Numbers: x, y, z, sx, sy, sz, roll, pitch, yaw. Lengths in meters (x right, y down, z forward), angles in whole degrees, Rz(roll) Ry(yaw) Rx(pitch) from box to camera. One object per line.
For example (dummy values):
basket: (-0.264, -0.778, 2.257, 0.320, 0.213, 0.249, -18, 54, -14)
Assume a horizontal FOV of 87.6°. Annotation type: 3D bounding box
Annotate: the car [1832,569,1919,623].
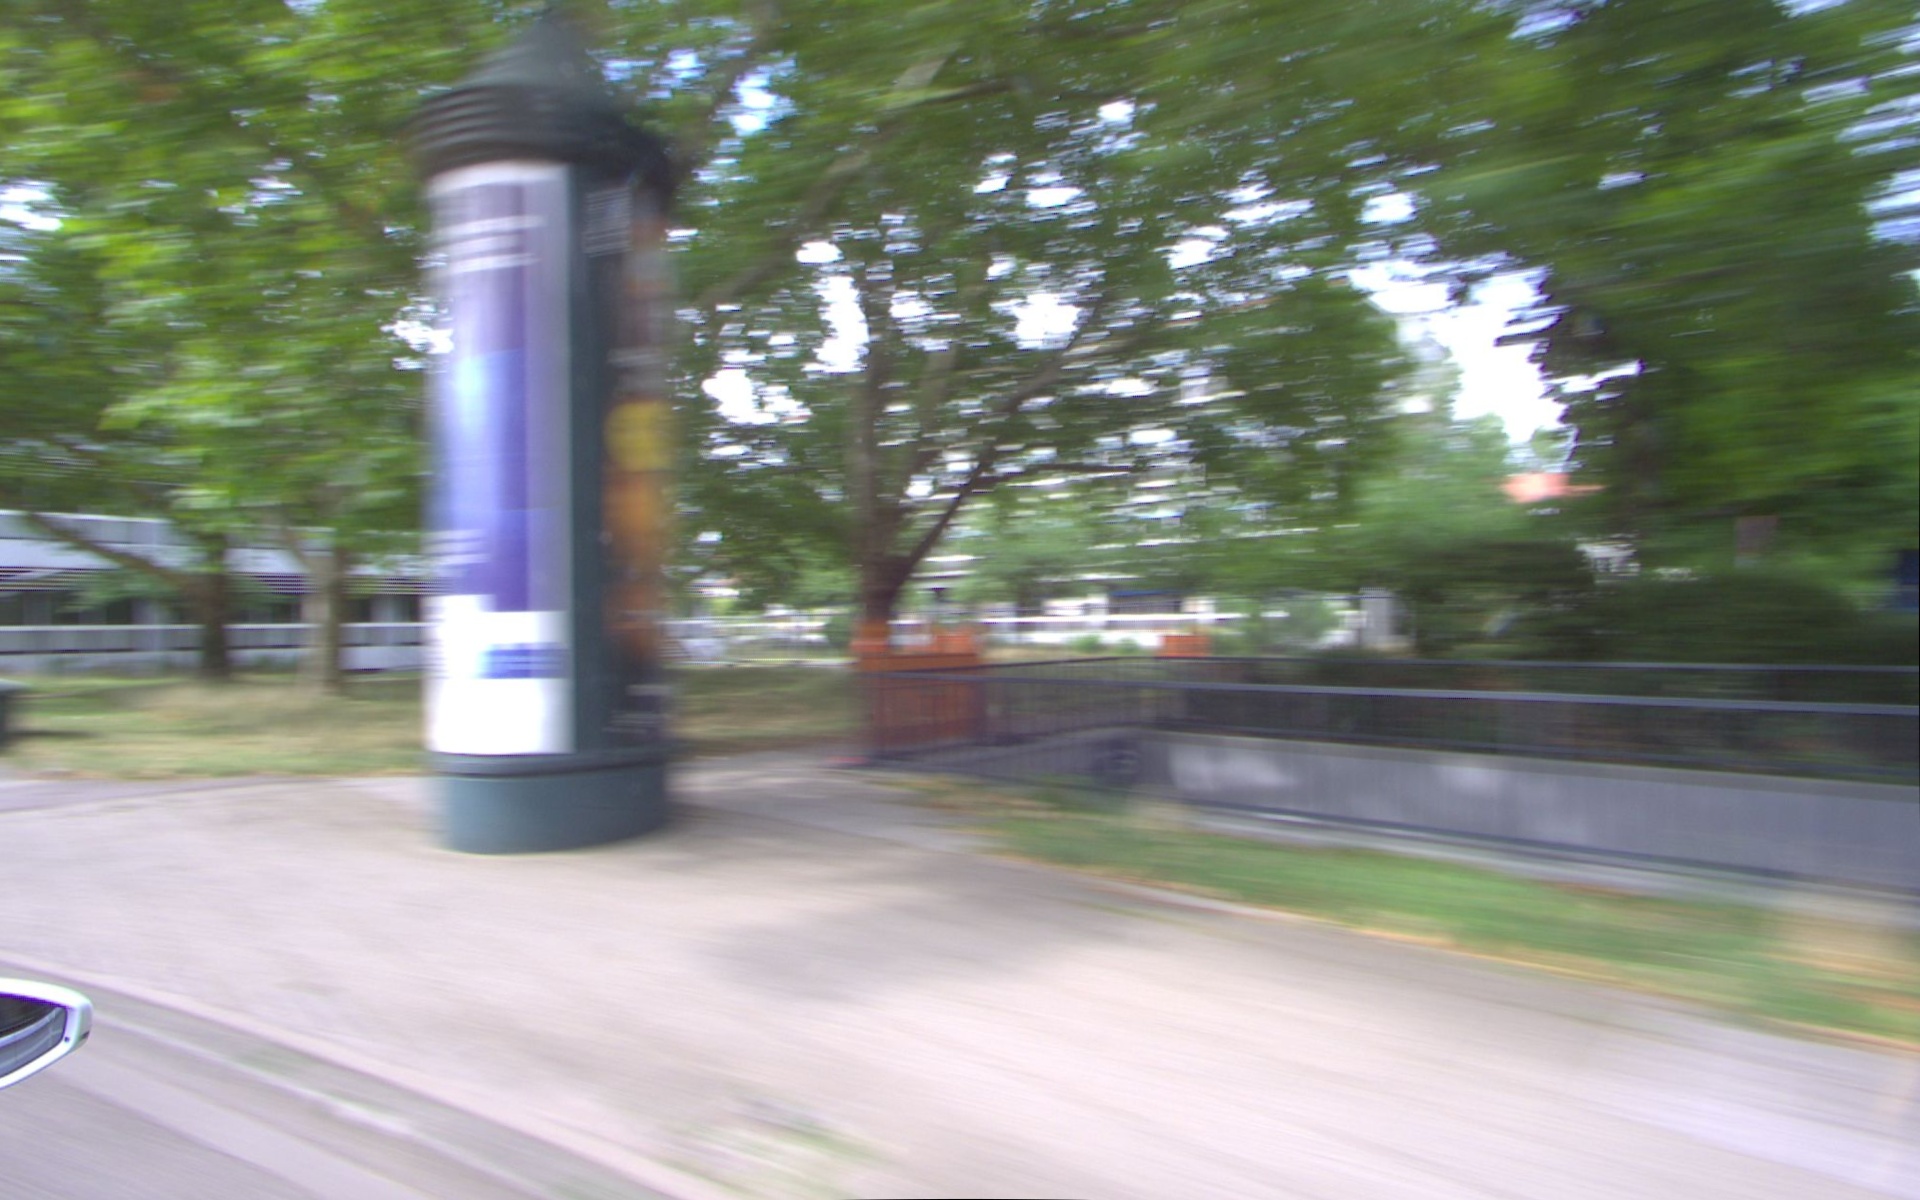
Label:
car: (37.871, -0.131, 39.857, 4.718, 2.039, 1.985, -1, -3, 41)
